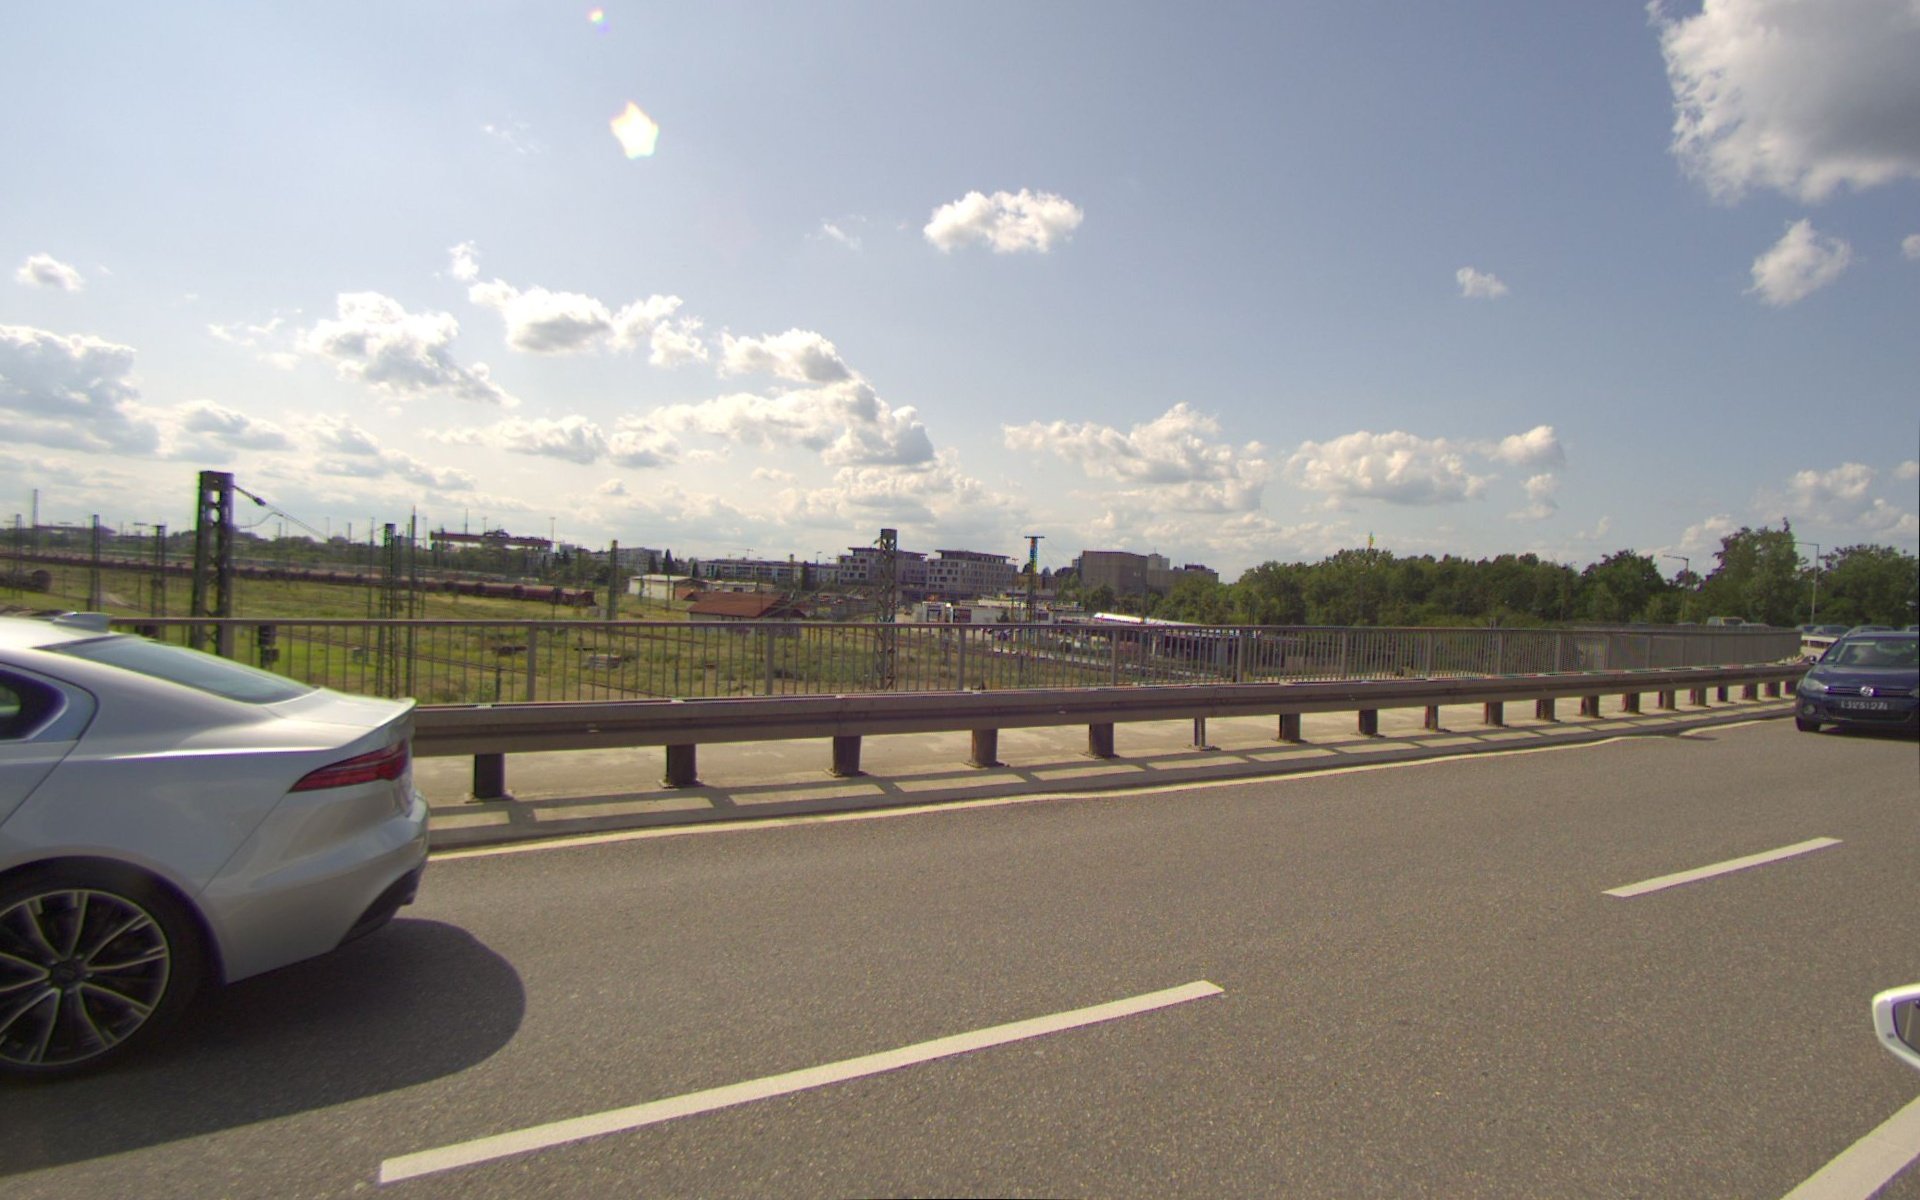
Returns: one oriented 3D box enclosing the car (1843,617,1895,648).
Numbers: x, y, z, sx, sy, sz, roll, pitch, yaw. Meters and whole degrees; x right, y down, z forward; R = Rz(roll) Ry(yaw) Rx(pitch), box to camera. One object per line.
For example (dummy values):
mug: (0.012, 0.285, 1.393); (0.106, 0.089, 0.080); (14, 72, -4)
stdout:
car: (50.612, 1.792, 55.986); (1.662, 1.618, 4.268); (0, -1, 35)

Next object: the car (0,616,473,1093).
car: (-4.138, 0.754, 3.280); (4.523, 1.393, 1.787); (1, -1, -29)

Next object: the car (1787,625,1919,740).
car: (13.833, 1.119, 14.808); (4.287, 1.473, 1.646); (1, -1, -38)
